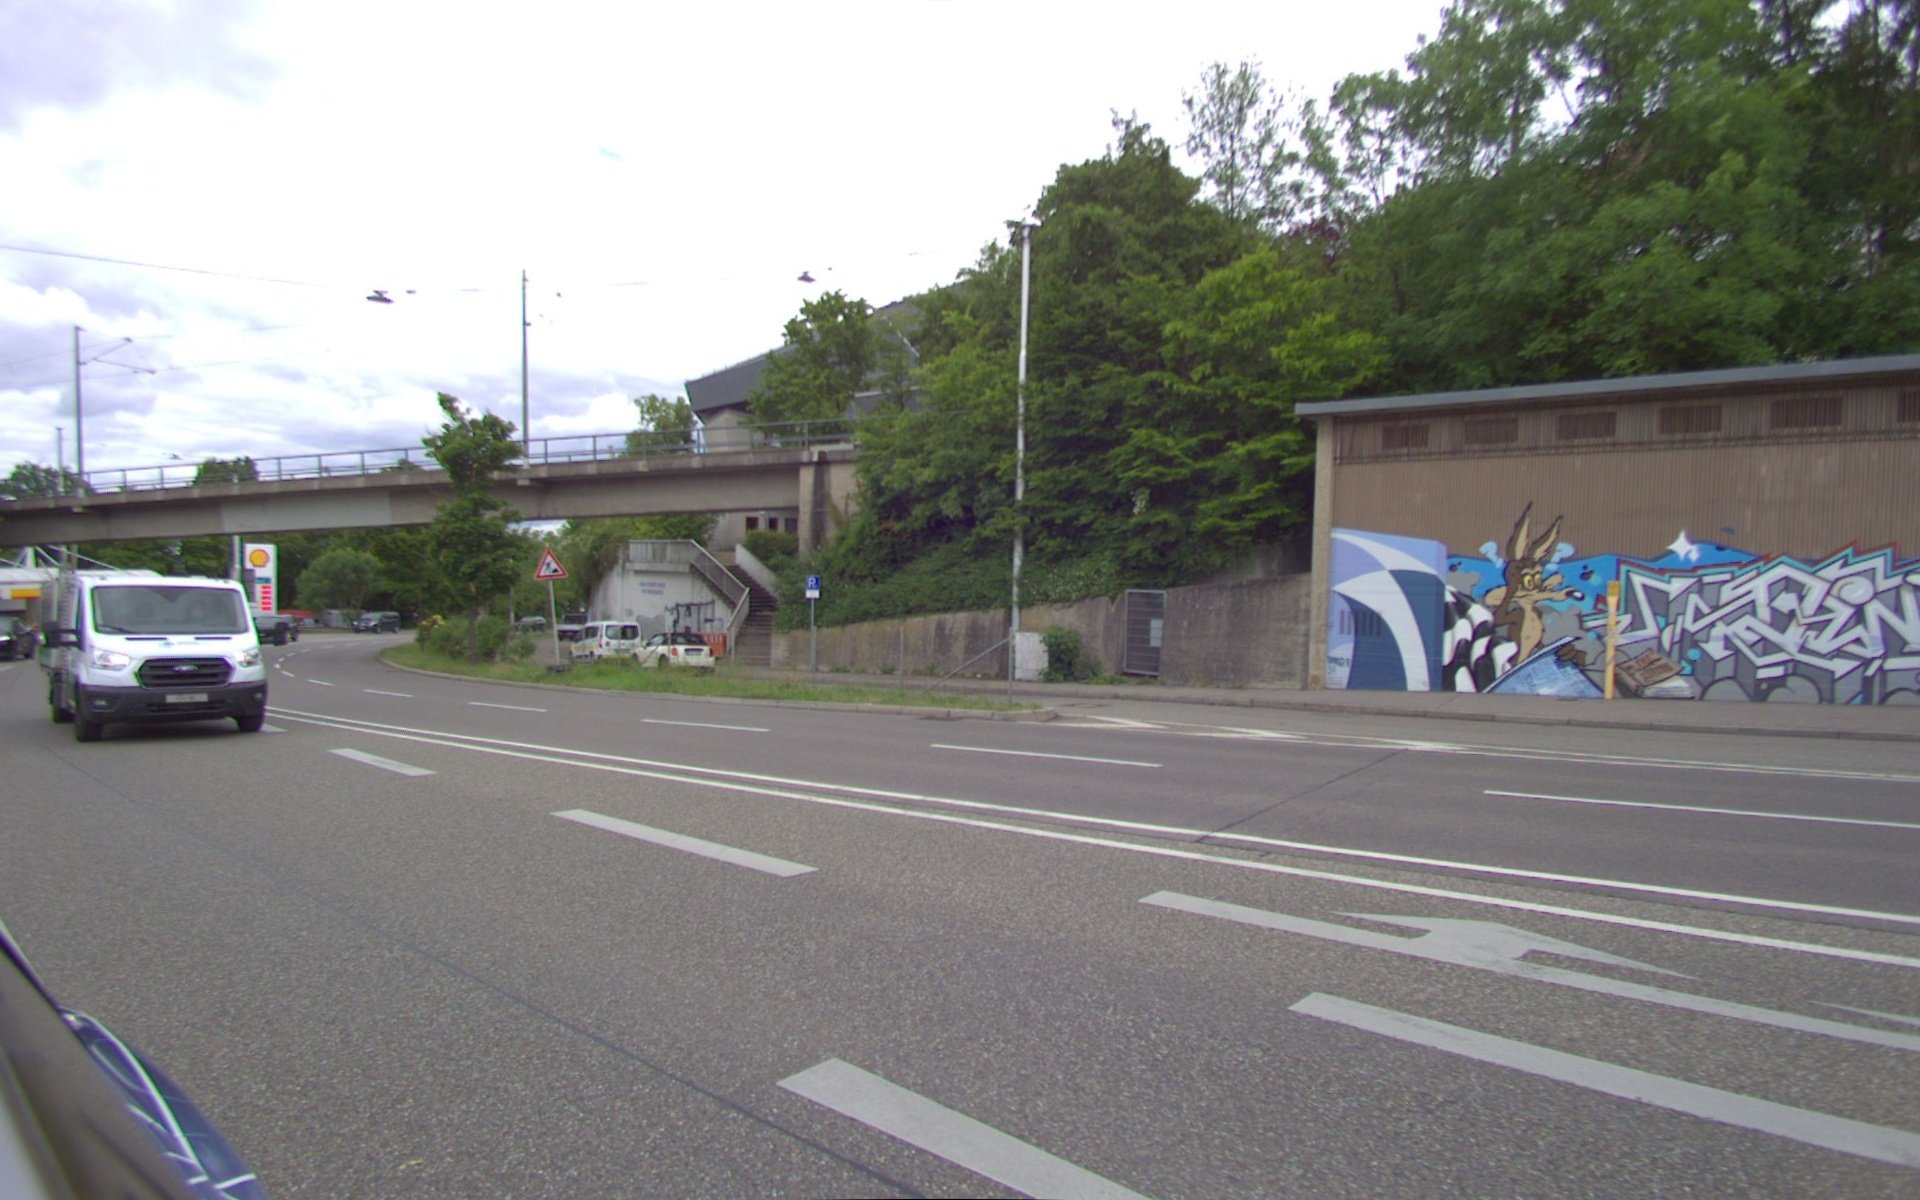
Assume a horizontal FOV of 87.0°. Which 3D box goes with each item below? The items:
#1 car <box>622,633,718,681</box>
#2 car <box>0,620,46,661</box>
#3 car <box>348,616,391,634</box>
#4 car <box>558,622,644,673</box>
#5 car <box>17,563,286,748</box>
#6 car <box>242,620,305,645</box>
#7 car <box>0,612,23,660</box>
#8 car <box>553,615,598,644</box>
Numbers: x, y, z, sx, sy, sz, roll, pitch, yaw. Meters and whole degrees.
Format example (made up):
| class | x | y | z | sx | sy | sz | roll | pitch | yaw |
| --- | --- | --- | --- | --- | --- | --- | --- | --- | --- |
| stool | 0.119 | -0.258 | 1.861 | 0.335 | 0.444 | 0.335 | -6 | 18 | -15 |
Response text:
| class | x | y | z | sx | sy | sz | roll | pitch | yaw |
| --- | --- | --- | --- | --- | --- | --- | --- | --- | --- |
| car | -9.621 | 1.844 | 33.391 | 1.743 | 1.430 | 3.811 | 2 | -2 | -37 |
| car | -34.669 | 1.453 | 36.861 | 4.000 | 1.422 | 1.710 | -1 | -2 | 43 |
| car | -50.460 | 2.117 | 86.581 | 1.704 | 1.489 | 4.005 | 0 | -1 | -6 |
| car | -13.764 | 1.788 | 38.666 | 1.743 | 1.799 | 4.474 | 4 | -3 | -37 |
| car | -12.000 | 0.716 | 14.812 | 6.266 | 2.190 | 1.972 | -1 | -3 | 42 |
| car | -42.175 | 1.991 | 62.262 | 1.703 | 1.489 | 4.008 | 0 | -1 | -9 |
| car | -33.694 | 1.292 | 34.604 | 3.998 | 1.541 | 1.973 | -2 | 1 | 41 |
| car | -32.548 | 2.482 | 85.933 | 2.239 | 2.290 | 6.338 | 2 | -1 | -9 |
